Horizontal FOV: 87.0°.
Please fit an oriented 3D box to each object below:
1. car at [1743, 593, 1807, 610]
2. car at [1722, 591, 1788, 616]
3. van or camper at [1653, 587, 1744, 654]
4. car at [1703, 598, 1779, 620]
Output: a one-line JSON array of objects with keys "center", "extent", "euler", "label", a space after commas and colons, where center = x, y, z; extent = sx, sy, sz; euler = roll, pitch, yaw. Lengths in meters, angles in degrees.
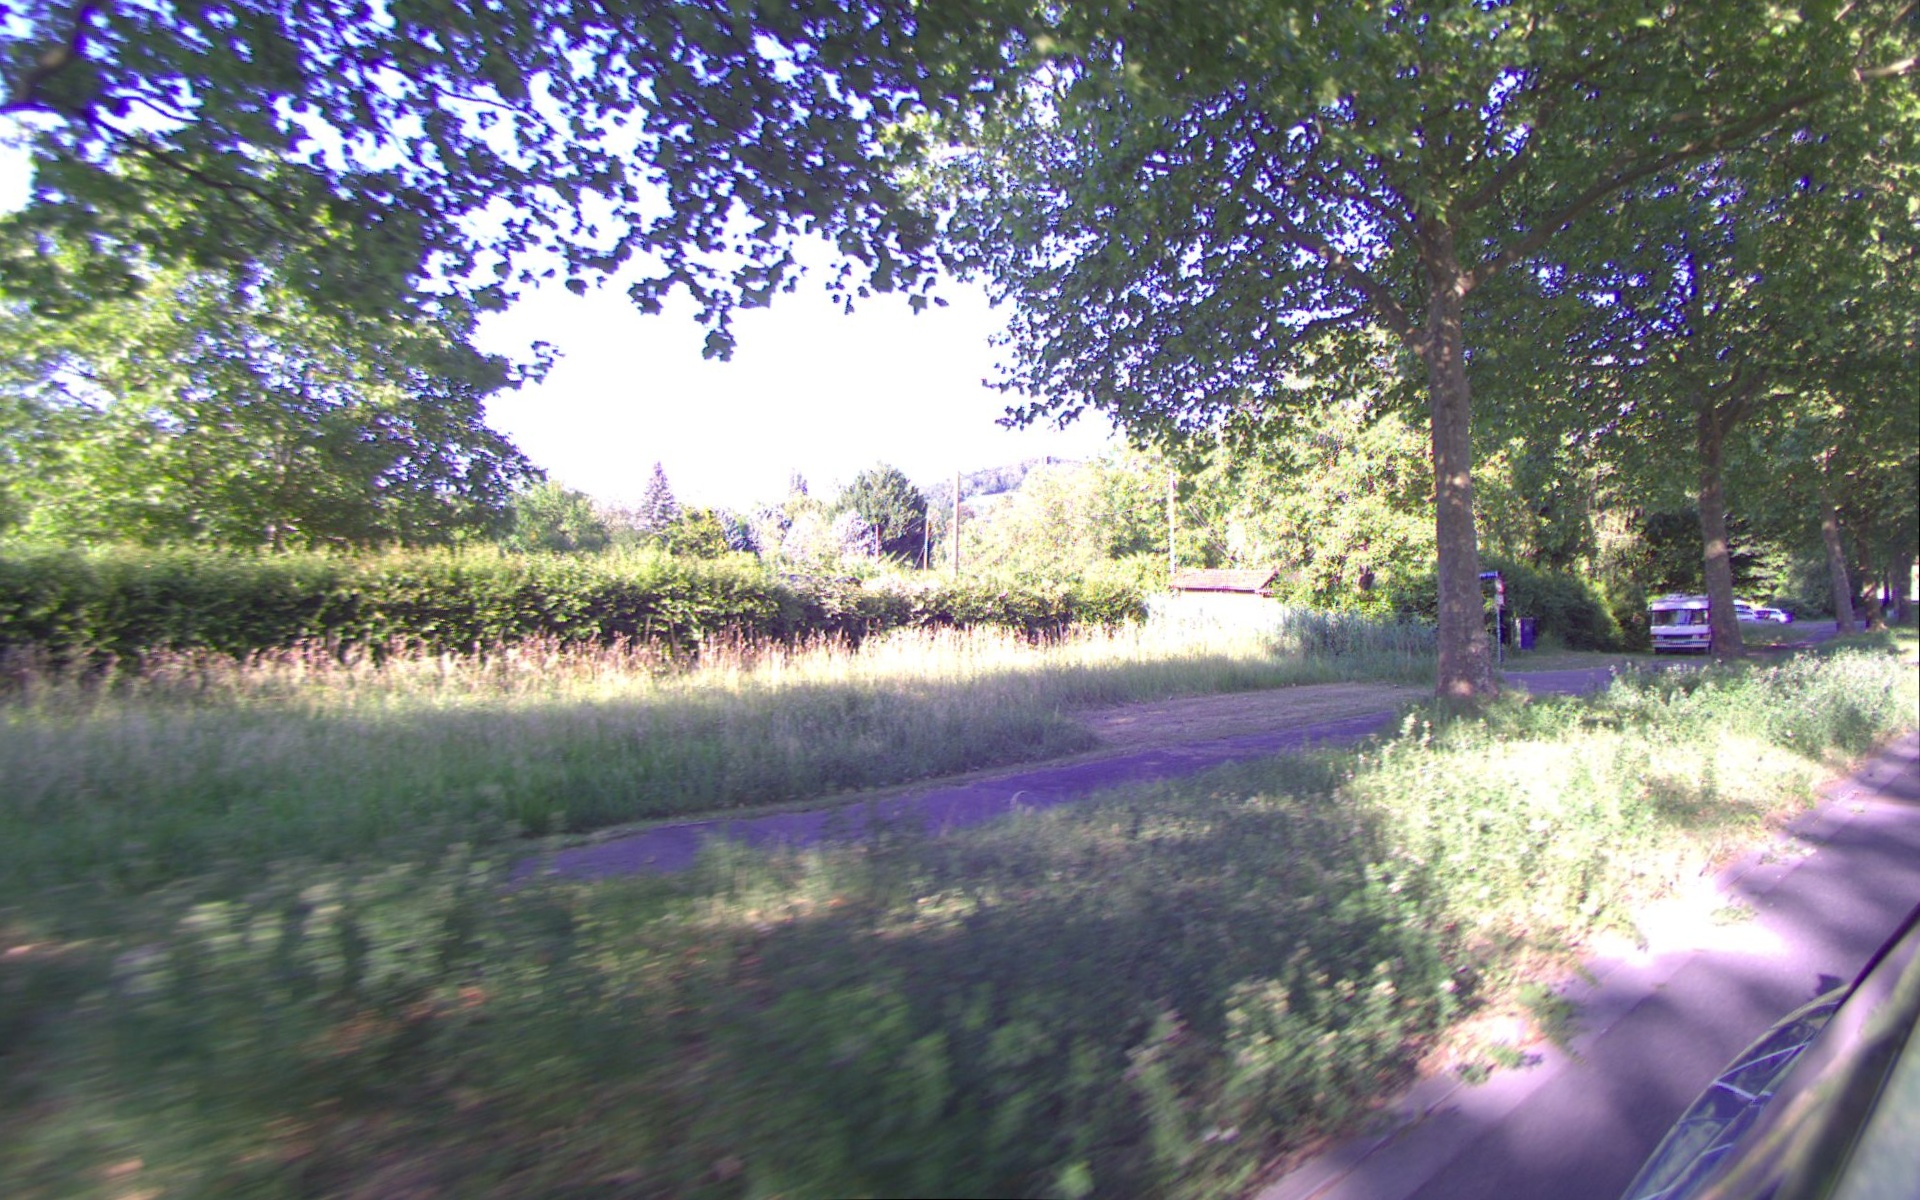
[{"center": [71.587, 0.108, 88.951], "extent": [1.963, 1.404, 3.998], "euler": [-1, 1, -36], "label": "car"}, {"center": [66.921, 0.263, 85.208], "extent": [1.963, 2.039, 3.998], "euler": [-1, 1, -36], "label": "car"}, {"center": [33.902, 0.839, 46.404], "extent": [5.591, 2.835, 2.383], "euler": [-1, 1, -43], "label": "van or camper"}, {"center": [62.644, 0.705, 81.221], "extent": [1.963, 1.691, 4.514], "euler": [-1, 1, -36], "label": "car"}]
